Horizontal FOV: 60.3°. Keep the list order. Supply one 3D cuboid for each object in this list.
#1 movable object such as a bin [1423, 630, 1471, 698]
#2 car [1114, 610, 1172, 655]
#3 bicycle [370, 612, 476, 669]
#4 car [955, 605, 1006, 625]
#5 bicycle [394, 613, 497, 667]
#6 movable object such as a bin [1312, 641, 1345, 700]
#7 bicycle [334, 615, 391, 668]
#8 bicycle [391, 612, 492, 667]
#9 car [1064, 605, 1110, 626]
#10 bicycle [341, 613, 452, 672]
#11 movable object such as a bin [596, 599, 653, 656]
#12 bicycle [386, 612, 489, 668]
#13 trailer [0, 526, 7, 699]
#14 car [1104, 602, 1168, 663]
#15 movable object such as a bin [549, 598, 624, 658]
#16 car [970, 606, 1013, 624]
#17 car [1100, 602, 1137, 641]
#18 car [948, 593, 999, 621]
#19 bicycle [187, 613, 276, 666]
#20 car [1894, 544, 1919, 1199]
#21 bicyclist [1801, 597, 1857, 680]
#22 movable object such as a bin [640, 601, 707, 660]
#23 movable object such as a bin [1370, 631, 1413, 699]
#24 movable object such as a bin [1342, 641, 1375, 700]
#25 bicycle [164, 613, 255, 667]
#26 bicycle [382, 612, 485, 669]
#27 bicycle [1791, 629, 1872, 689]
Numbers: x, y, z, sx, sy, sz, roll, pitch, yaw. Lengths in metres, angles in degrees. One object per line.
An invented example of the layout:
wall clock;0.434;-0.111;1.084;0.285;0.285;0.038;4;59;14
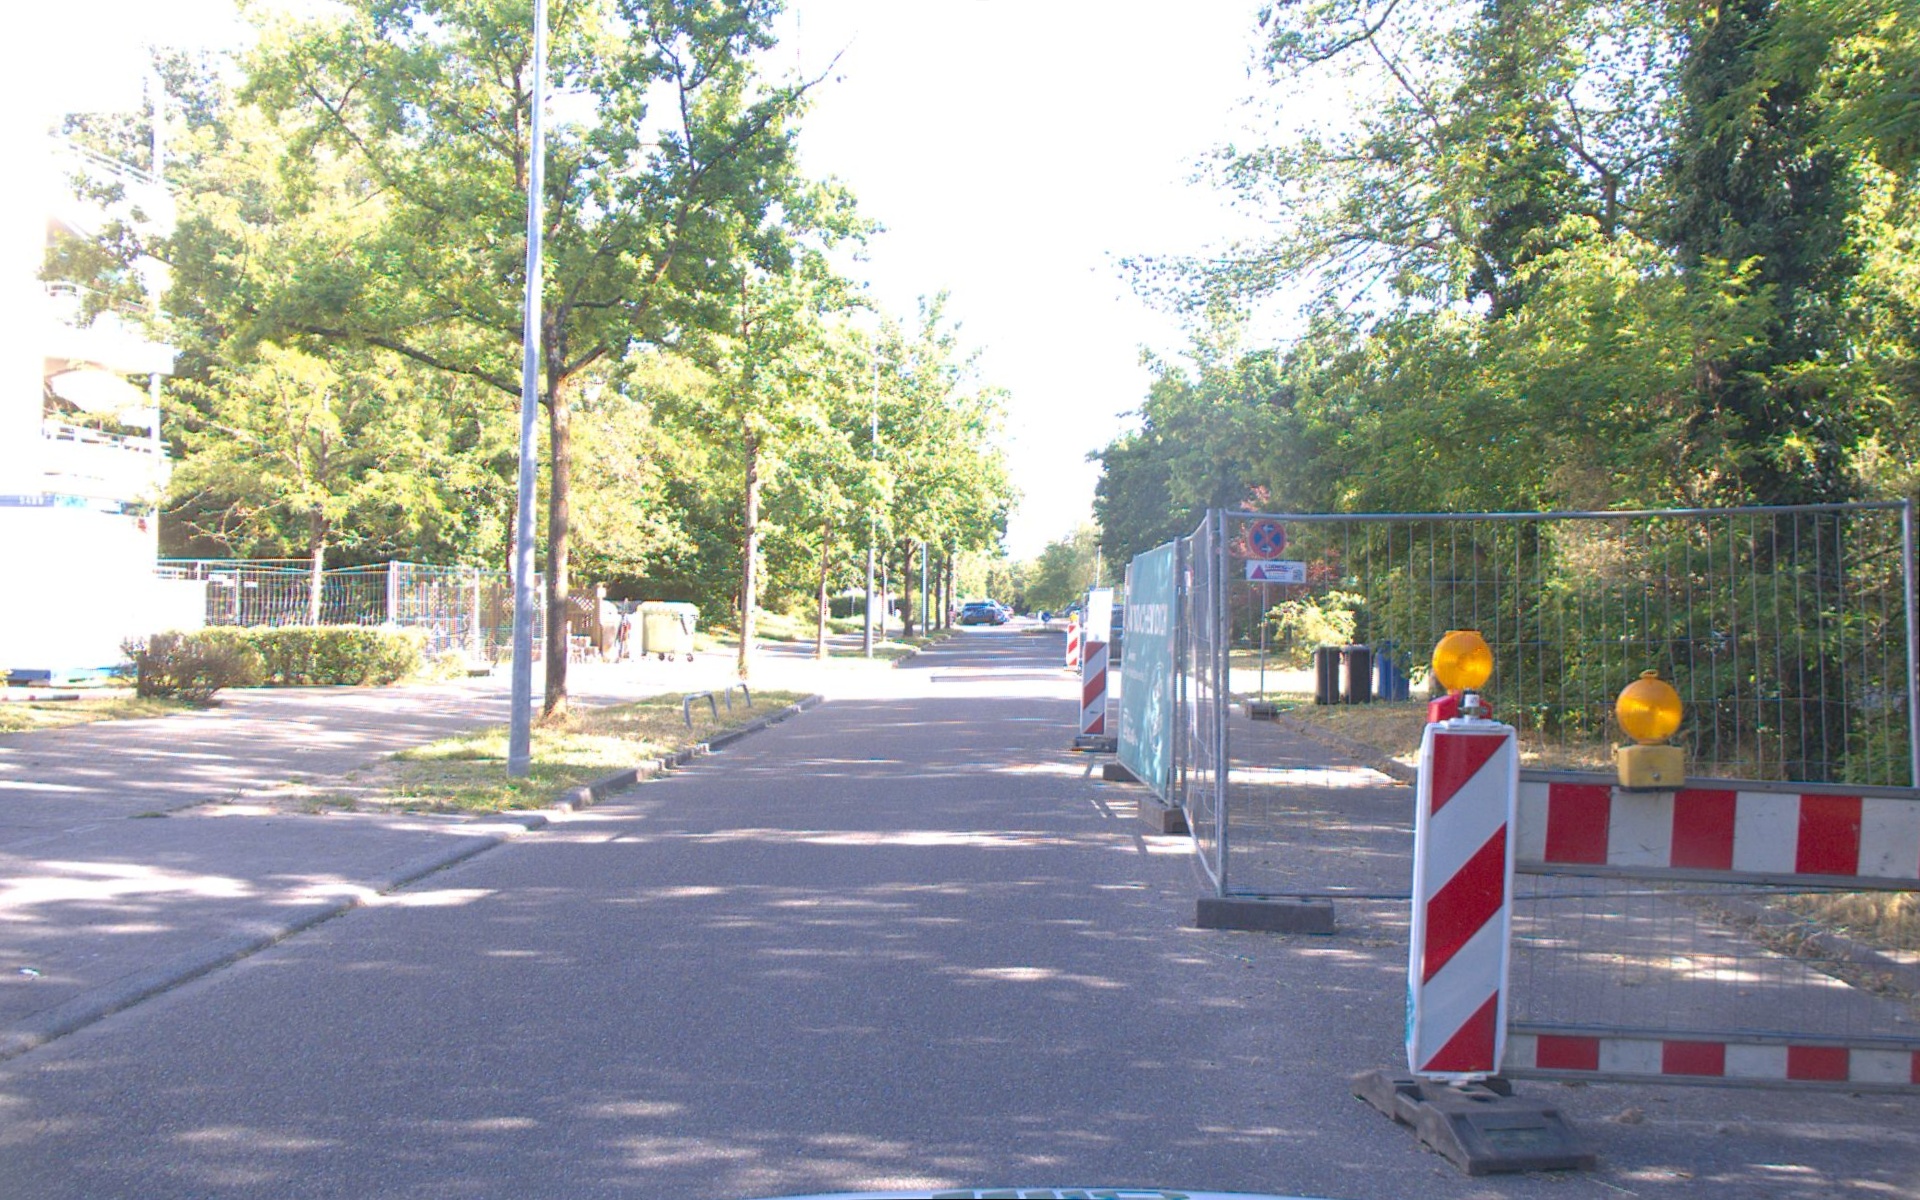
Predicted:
movable object such as a bin;7.428;0.974;25.243;0.551;1.017;0.608;-1;-1;3
car;6.171;1.082;56.086;1.627;1.399;4.156;2;0;3
bicycle;-9.982;0.758;30.774;1.821;1.045;0.399;1;-1;-10
car;1.826;1.298;146.121;4.226;1.604;2.048;2;0;10
bicycle;-10.140;0.783;32.616;1.880;1.045;0.399;1;-1;-10
movable object such as a bin;5.656;1.085;25.424;0.404;0.885;0.484;-1;-1;3
bicycle;-12.161;0.844;33.689;0.391;1.045;1.701;0;-1;5
bicycle;-10.068;0.775;32.147;1.804;1.045;0.399;1;-1;-10
car;10.861;1.347;141.136;3.757;1.604;1.690;2;0;9
bicycle;-10.162;0.767;29.839;1.835;1.045;0.399;1;-1;-10
movable object such as a bin;-8.803;0.704;43.379;1.129;1.461;1.260;0;0;-31
bicycle;-10.016;0.773;31.722;1.825;1.045;0.399;1;-1;-10
trailer;-13.111;0.107;18.626;1.824;2.157;4.349;2;0;6
car;5.278;0.942;49.290;1.771;1.680;4.424;2;0;7
movable object such as a bin;-9.149;0.675;40.539;1.246;1.461;1.323;0;0;31
car;3.067;1.509;162.381;4.020;1.604;1.959;2;0;5
car;7.701;1.047;80.619;1.589;1.804;3.670;2;0;3
car;1.374;0.736;171.441;5.095;2.666;2.292;2;0;-2
bicycle;-14.712;0.794;33.410;1.659;1.045;0.401;0;-1;8
car;2.615;0.729;1.199;1.644;1.650;4.138;1;0;2
bicyclist;16.211;0.714;30.880;0.618;1.526;0.840;1;-1;2
movable object such as a bin;-7.214;0.758;41.631;1.242;1.461;1.182;0;0;19
movable object such as a bin;6.600;0.995;25.328;0.508;1.017;0.608;-1;-1;3
movable object such as a bin;6.130;1.074;25.444;0.404;0.885;0.484;-1;-1;3
bicycle;-14.852;0.789;32.740;1.659;1.045;0.401;0;-1;8
bicycle;-9.932;0.765;31.245;1.804;1.045;0.399;1;-1;-10
bicycle;16.204;1.076;30.795;0.618;1.058;1.785;1;0;2
